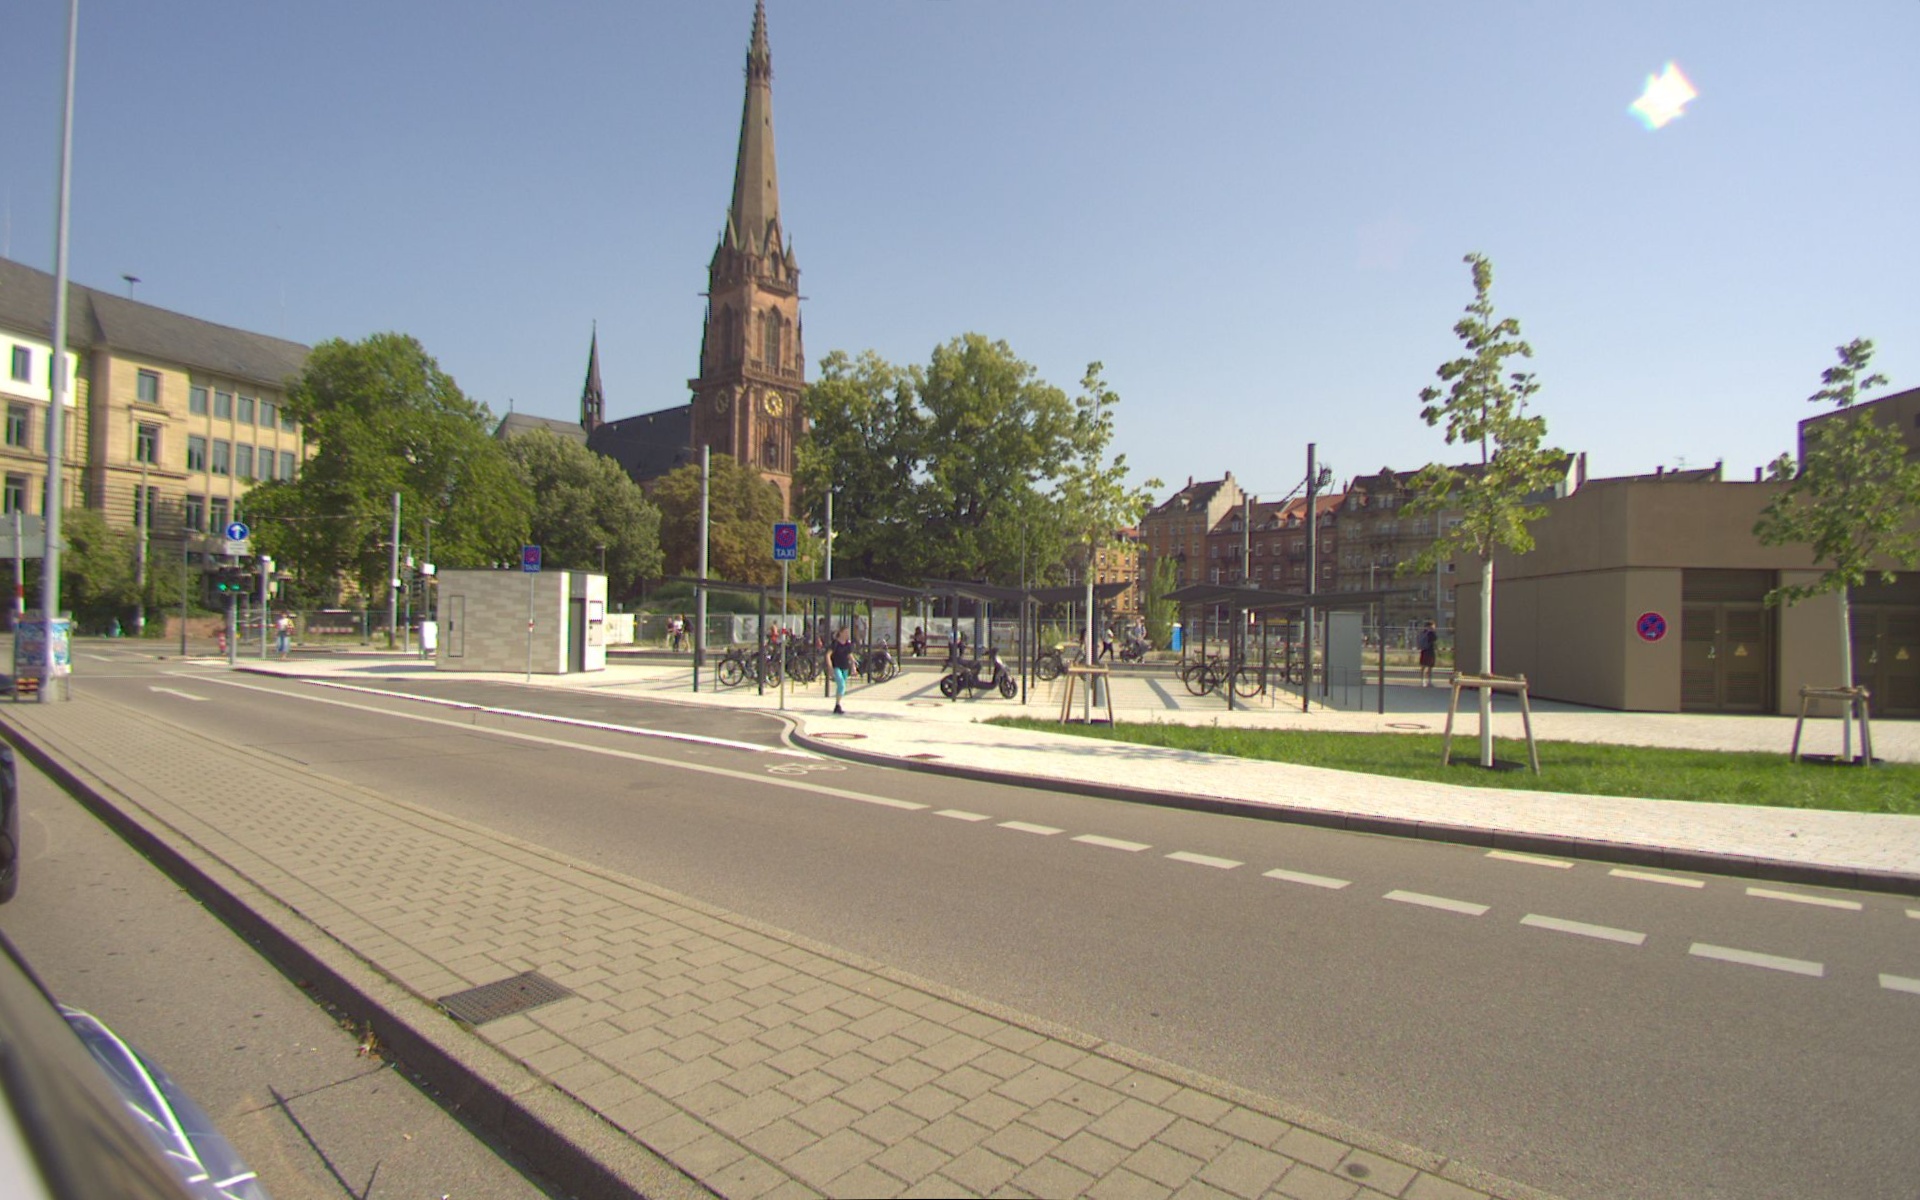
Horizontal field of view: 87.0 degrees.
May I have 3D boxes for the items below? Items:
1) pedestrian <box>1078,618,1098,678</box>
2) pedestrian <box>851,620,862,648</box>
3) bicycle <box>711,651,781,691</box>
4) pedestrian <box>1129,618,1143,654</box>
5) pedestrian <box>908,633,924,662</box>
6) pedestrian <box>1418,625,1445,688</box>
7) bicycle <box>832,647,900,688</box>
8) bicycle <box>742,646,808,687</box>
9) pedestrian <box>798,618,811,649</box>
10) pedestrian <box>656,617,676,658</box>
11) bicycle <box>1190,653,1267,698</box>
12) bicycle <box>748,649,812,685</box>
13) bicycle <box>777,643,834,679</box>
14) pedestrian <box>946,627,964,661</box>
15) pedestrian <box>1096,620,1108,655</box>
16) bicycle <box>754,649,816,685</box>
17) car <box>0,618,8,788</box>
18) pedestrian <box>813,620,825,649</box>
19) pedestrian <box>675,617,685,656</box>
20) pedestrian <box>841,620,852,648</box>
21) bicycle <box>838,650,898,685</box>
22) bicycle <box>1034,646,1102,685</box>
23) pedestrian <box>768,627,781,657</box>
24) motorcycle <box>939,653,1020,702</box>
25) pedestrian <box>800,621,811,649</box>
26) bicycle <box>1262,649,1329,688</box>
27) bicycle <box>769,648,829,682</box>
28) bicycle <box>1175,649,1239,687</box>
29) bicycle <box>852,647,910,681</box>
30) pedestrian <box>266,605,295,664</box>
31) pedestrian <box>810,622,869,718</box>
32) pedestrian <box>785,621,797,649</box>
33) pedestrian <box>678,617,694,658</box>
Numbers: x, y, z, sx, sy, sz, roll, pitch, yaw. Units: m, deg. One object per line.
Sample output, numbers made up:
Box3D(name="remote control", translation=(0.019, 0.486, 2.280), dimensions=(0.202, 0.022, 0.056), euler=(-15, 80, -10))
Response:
Box3D(name="pedestrian", translation=(3.895, 1.460, 30.807), dimensions=(0.585, 1.815, 0.333), euler=(1, -2, 4))
Box3D(name="pedestrian", translation=(-4.591, 1.506, 44.814), dimensions=(0.379, 1.233, 0.438), euler=(-1, 0, 9))
Box3D(name="bicycle", translation=(-5.103, 1.692, 24.127), dimensions=(1.570, 0.899, 0.400), euler=(1, -2, 9))
Box3D(name="pedestrian", translation=(7.251, 1.478, 41.758), dimensions=(0.562, 1.432, 0.468), euler=(-1, 0, 10))
Box3D(name="pedestrian", translation=(-1.865, 1.978, 42.612), dimensions=(0.568, 1.206, 0.466), euler=(1, -2, 9))
Box3D(name="pedestrian", translation=(13.542, 1.605, 29.087), dimensions=(0.650, 1.783, 0.473), euler=(0, -2, 32))
Box3D(name="bicycle", translation=(-2.448, 1.745, 26.373), dimensions=(1.694, 0.994, 0.532), euler=(1, -2, 9))
Box3D(name="bicycle", translation=(-4.644, 1.660, 25.398), dimensions=(1.570, 0.975, 0.421), euler=(1, -2, 9))
Box3D(name="pedestrian", translation=(-6.687, 1.441, 43.558), dimensions=(0.430, 1.328, 0.438), euler=(-1, 0, 9))
Box3D(name="pedestrian", translation=(-12.728, 1.614, 43.813), dimensions=(0.389, 1.762, 0.707), euler=(-1, -2, 40))
Box3D(name="bicycle", translation=(6.351, 1.779, 23.987), dimensions=(1.726, 1.017, 0.400), euler=(1, -2, 9))
Box3D(name="bicycle", translation=(-4.653, 1.725, 26.143), dimensions=(1.570, 0.899, 0.400), euler=(1, -2, 9))
Box3D(name="bicycle", translation=(-4.427, 1.741, 29.030), dimensions=(1.570, 0.985, 0.451), euler=(1, 0, 9))
Box3D(name="pedestrian", translation=(-0.210, 1.832, 42.273), dimensions=(0.636, 1.405, 0.661), euler=(1, -2, 6))
Box3D(name="pedestrian", translation=(5.757, 1.518, 41.070), dimensions=(0.464, 1.432, 0.567), euler=(-1, 0, 10))
Box3D(name="bicycle", translation=(-4.608, 1.760, 26.686), dimensions=(1.570, 0.899, 0.409), euler=(1, -2, 9))
Box3D(name="car", translation=(-6.576, 0.782, 5.486), dimensions=(4.875, 1.451, 1.799), euler=(0, -2, 44))
Box3D(name="pedestrian", translation=(-6.225, 1.514, 44.669), dimensions=(0.379, 1.233, 0.438), euler=(-1, 0, 9))
Box3D(name="pedestrian", translation=(-12.216, 1.588, 44.181), dimensions=(0.242, 1.707, 0.392), euler=(1, -2, 9))
Box3D(name="pedestrian", translation=(-5.019, 1.510, 44.876), dimensions=(0.379, 1.233, 0.438), euler=(-1, 0, 9))
Box3D(name="bicycle", translation=(-2.483, 1.808, 27.327), dimensions=(1.570, 0.899, 0.409), euler=(1, -2, 9))
Box3D(name="bicycle", translation=(3.013, 1.809, 28.166), dimensions=(1.853, 1.017, 0.460), euler=(1, -2, 9))
Box3D(name="pedestrian", translation=(-8.171, 1.841, 44.531), dimensions=(0.411, 1.328, 0.392), euler=(-1, 0, 13))
Box3D(name="motorcycle", translation=(0.433, 1.702, 22.284), dimensions=(1.726, 1.017, 0.541), euler=(1, -2, 9))
Box3D(name="pedestrian", translation=(-6.792, 1.529, 44.451), dimensions=(0.379, 1.233, 0.438), euler=(-1, 0, 9))
Box3D(name="bicycle", translation=(9.395, 1.920, 28.352), dimensions=(1.724, 1.028, 0.473), euler=(1, -2, 7))
Box3D(name="bicycle", translation=(-4.426, 1.783, 27.803), dimensions=(1.570, 0.899, 0.400), euler=(1, -2, 9))
Box3D(name="bicycle", translation=(7.053, 1.934, 28.928), dimensions=(1.726, 1.017, 0.400), euler=(1, -2, 9))
Box3D(name="bicycle", translation=(-2.238, 1.812, 28.677), dimensions=(1.570, 0.899, 0.409), euler=(1, -2, 9))
Box3D(name="pedestrian", translation=(-23.650, 1.202, 35.217), dimensions=(0.722, 2.029, 0.715), euler=(2, -2, -38))
Box3D(name="pedestrian", translation=(-2.041, 1.180, 17.204), dimensions=(0.663, 1.577, 0.747), euler=(0, -3, 25))
Box3D(name="pedestrian", translation=(-7.423, 1.538, 44.386), dimensions=(0.379, 1.233, 0.438), euler=(-1, 0, 9))
Box3D(name="pedestrian", translation=(-11.534, 1.582, 42.594), dimensions=(0.510, 1.720, 0.505), euler=(2, -1, -24))
